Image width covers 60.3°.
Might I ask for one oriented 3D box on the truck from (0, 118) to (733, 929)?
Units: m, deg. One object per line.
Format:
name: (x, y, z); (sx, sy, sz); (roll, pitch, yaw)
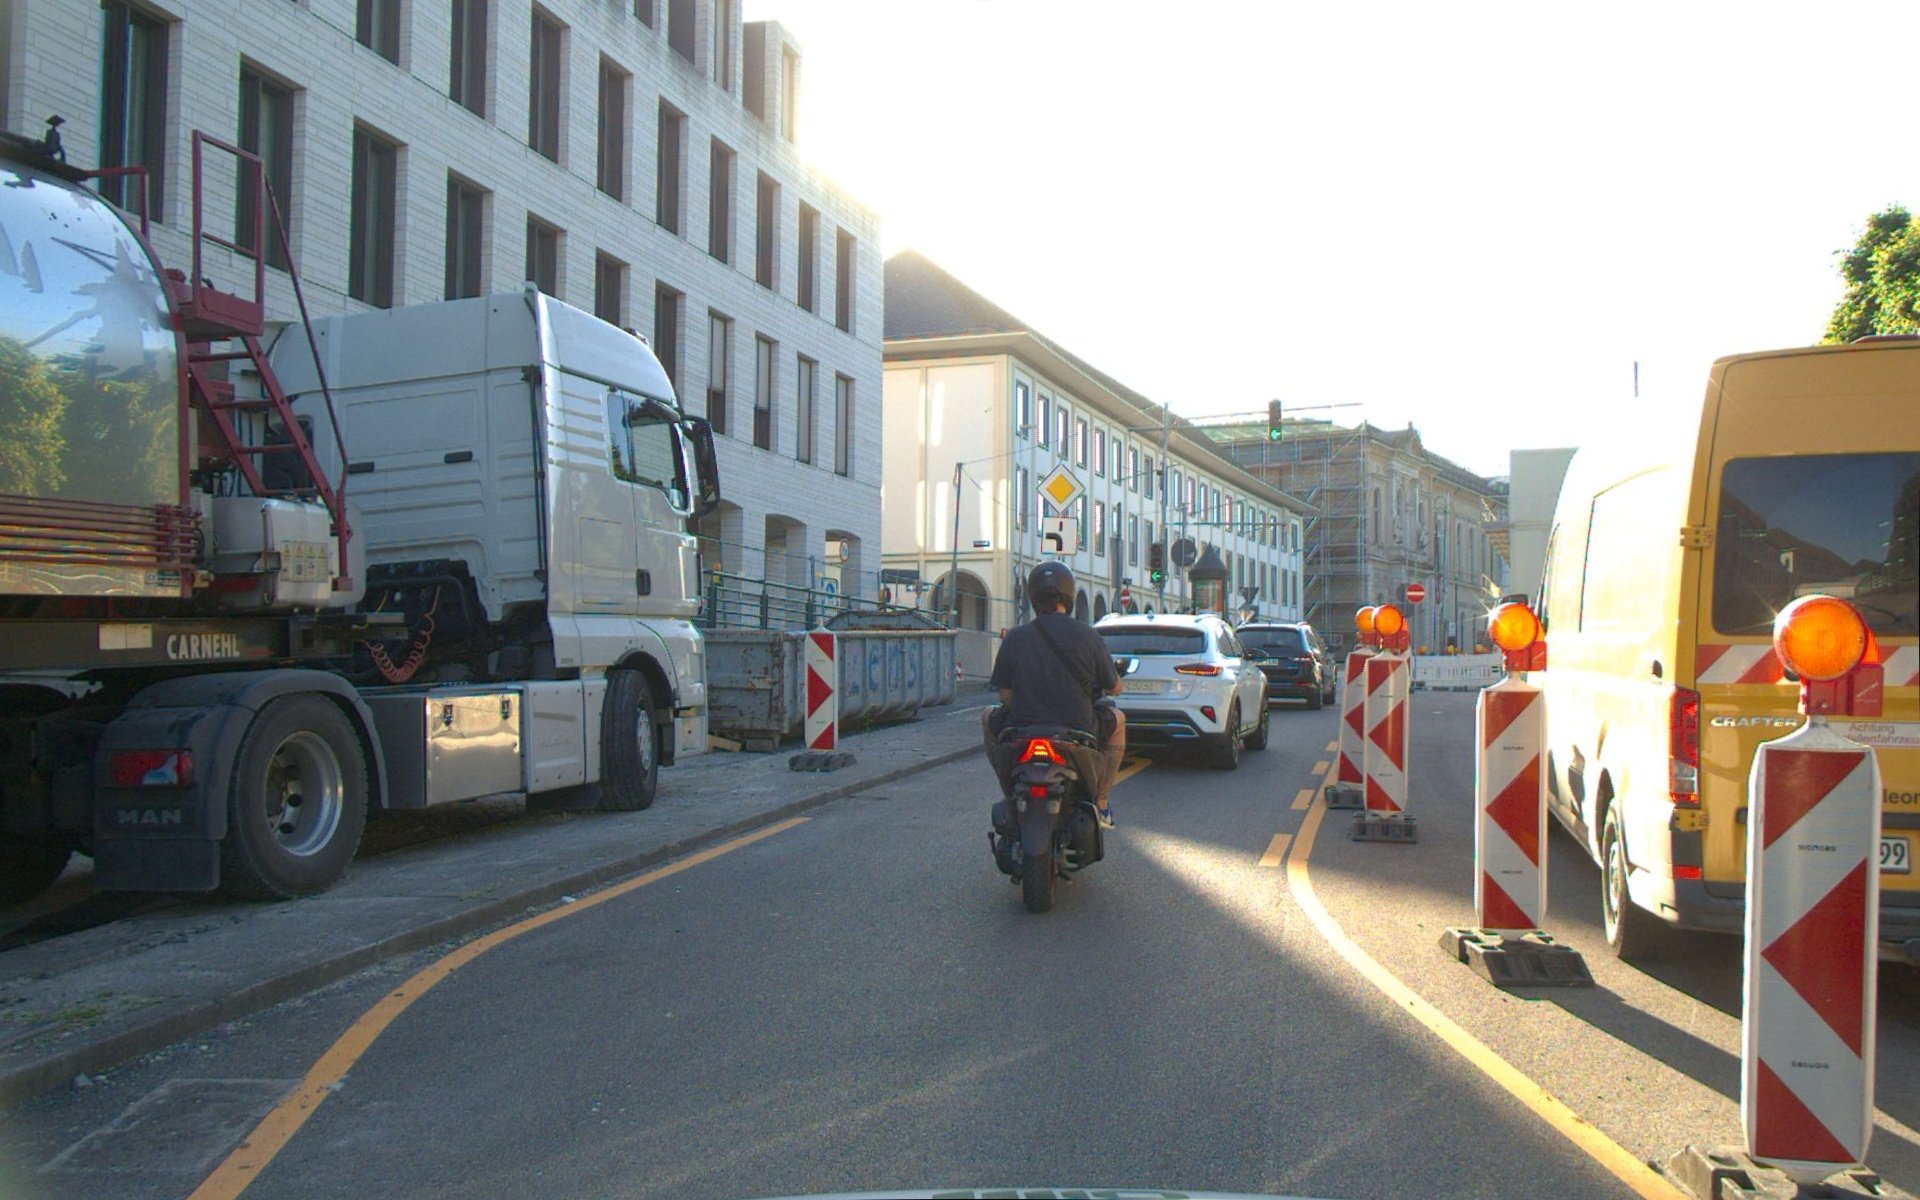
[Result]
truck: (-3.823, -0.252, 10.398); (2.525, 3.550, 5.820); (-4, -1, 15)

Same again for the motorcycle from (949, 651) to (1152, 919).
motorcycle: (0.576, 0.907, 9.104); (0.886, 1.204, 2.580); (0, -1, 8)

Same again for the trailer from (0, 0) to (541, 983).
trailer: (-4.862, -0.395, 6.038); (2.586, 3.733, 8.755); (-4, -1, 13)

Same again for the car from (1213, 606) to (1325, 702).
car: (5.534, 0.983, 29.303); (1.736, 1.578, 4.109); (-1, -3, 13)

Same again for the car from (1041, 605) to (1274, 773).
car: (2.188, 0.826, 17.340); (1.820, 1.498, 4.003); (1, 0, 16)

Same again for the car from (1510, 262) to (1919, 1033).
car: (4.372, 0.198, 9.067); (2.067, 2.671, 6.992); (0, -1, 14)

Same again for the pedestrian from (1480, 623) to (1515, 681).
pedestrian: (16.790, 1.622, 51.631); (0.954, 1.759, 0.798); (-2, -4, 19)

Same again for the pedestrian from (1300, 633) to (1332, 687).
pedestrian: (11.731, 1.972, 54.498); (0.944, 1.740, 0.675); (0, 0, 19)

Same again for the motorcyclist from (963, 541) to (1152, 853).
motorcyclist: (0.567, 0.499, 9.099); (0.933, 1.587, 1.240); (0, -1, 8)

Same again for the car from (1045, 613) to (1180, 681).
car: (4.132, 1.252, 45.437); (1.782, 1.751, 4.125); (0, 0, -27)
